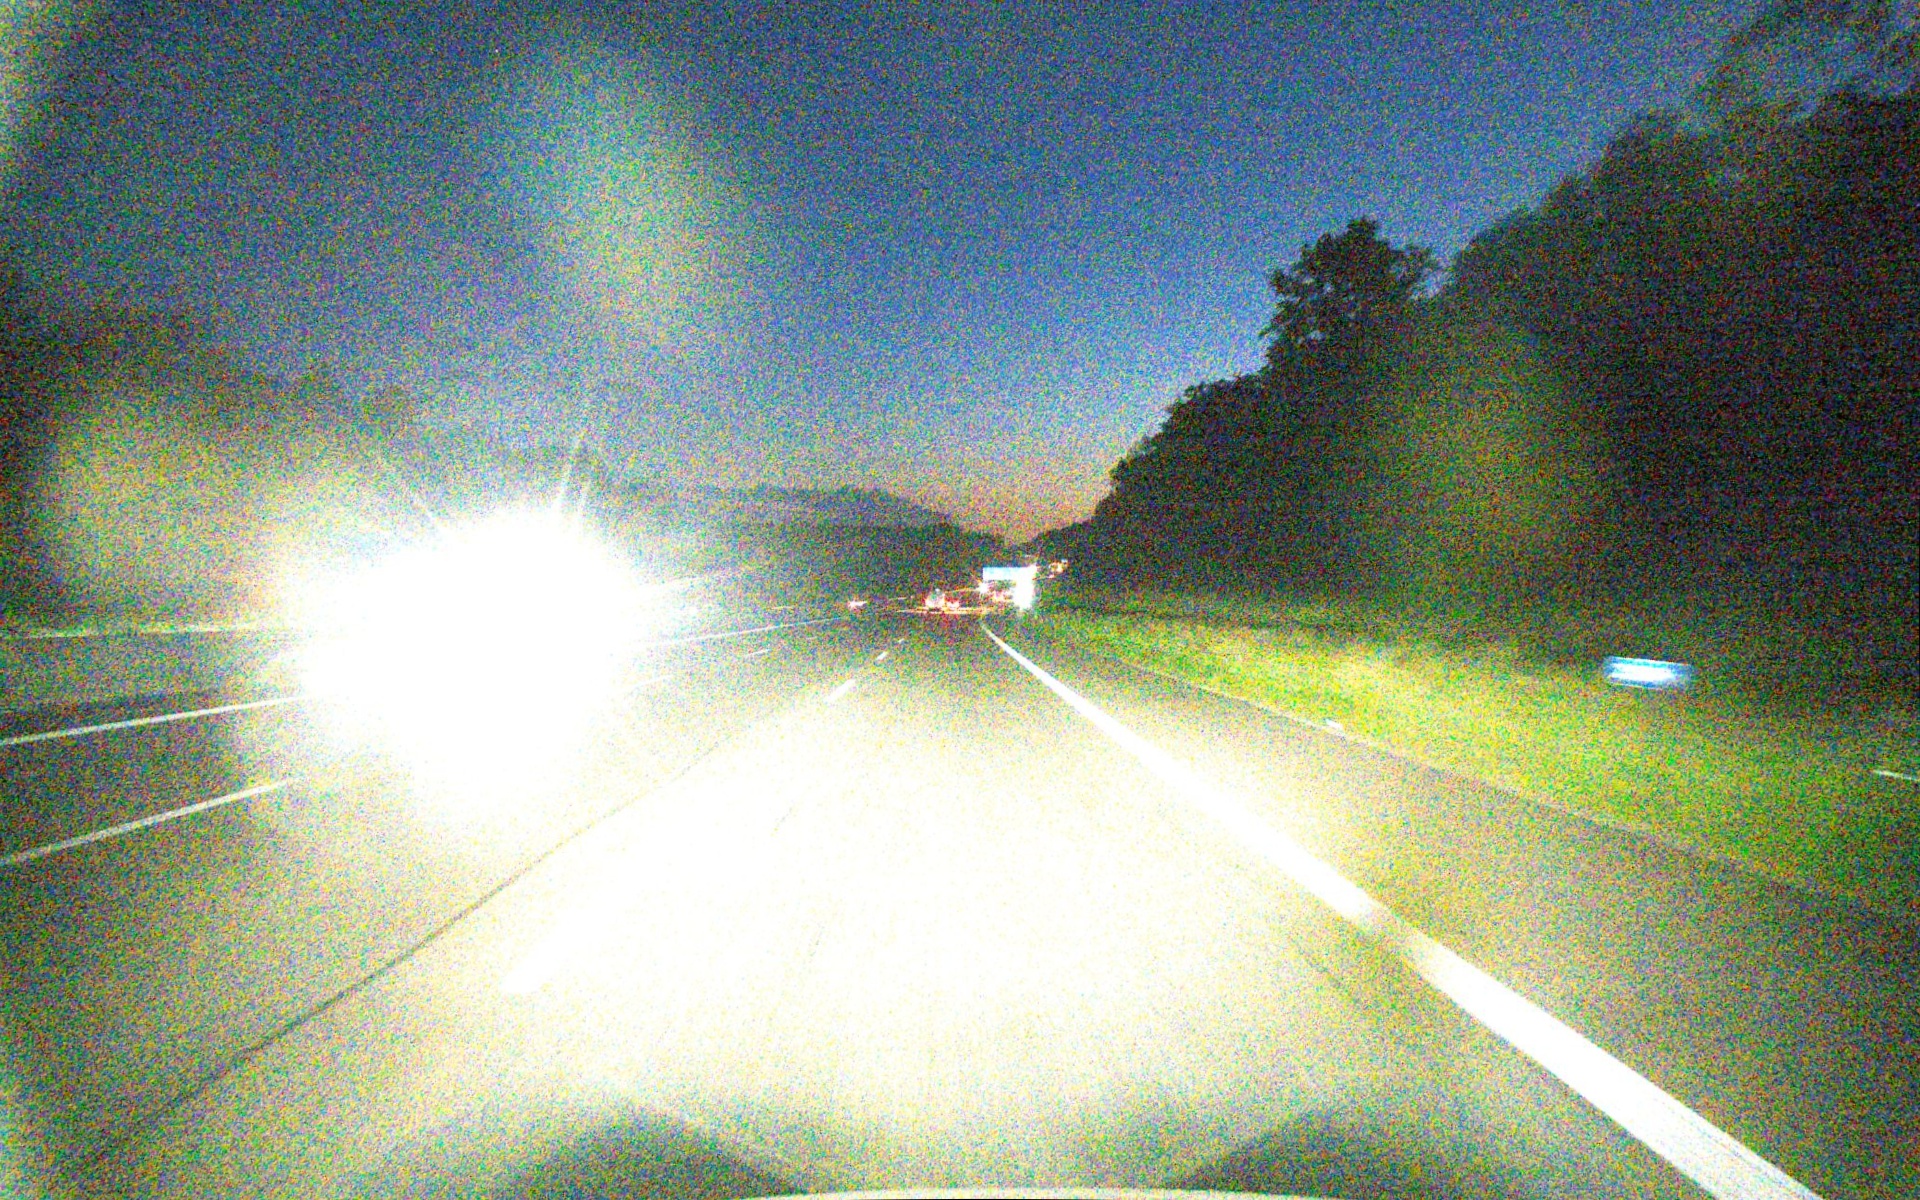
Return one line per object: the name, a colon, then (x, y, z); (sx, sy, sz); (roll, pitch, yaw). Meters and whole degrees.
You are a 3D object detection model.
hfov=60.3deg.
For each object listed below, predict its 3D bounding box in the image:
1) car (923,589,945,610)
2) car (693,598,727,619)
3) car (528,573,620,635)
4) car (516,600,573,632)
car: (-3.014, -0.061, 195.658); (2.459, 2.354, 4.971); (0, 0, 1)
car: (-18.820, 0.637, 124.666); (1.823, 1.524, 4.704); (0, 0, -1)
car: (-19.016, 0.161, 81.914); (2.893, 2.907, 7.716); (0, 0, -1)
car: (-22.775, 0.857, 90.800); (2.010, 1.626, 5.075); (0, 0, -2)
